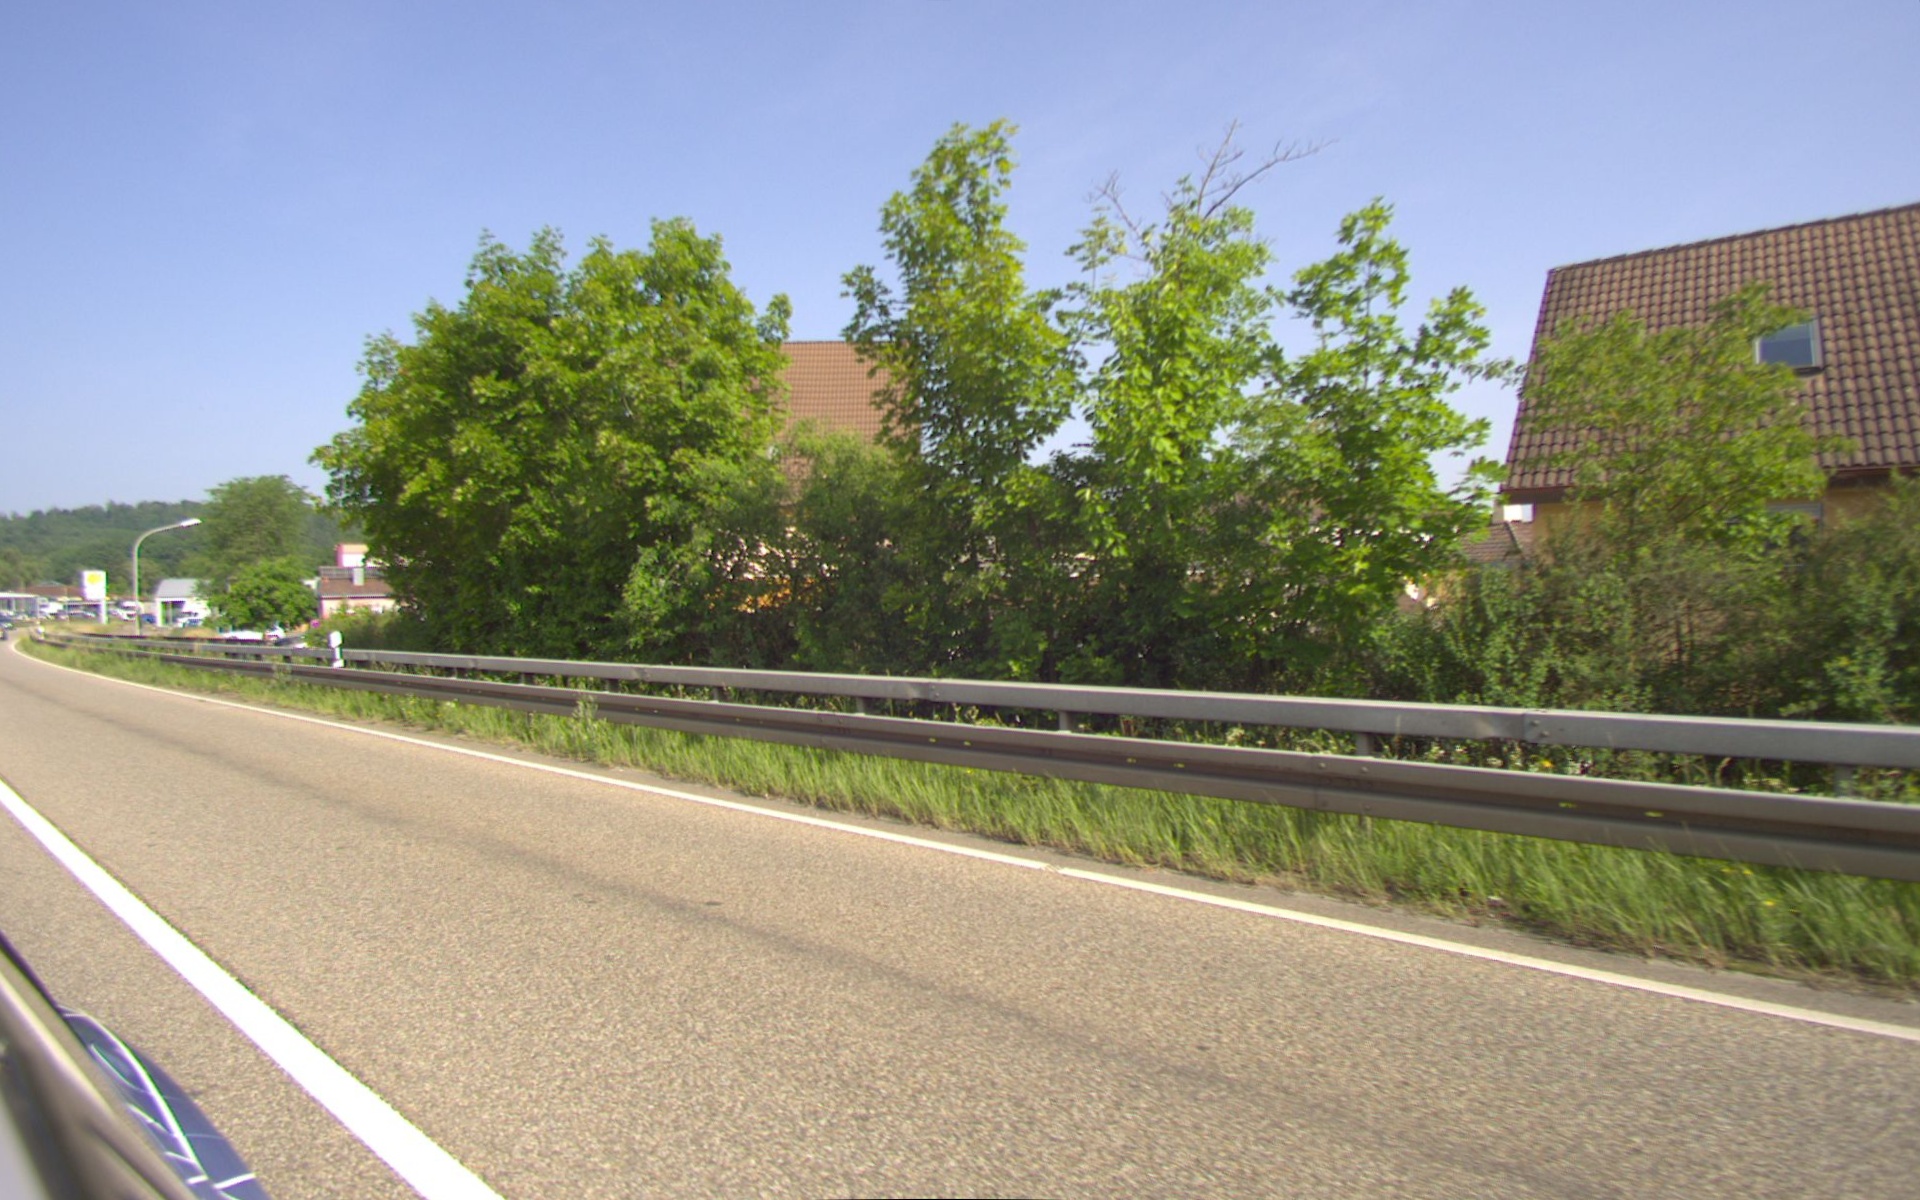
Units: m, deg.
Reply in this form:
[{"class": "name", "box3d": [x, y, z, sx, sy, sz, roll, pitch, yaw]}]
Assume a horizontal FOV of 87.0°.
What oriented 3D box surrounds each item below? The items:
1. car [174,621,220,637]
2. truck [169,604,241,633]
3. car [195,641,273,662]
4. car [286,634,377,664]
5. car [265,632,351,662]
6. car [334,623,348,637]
[{"class": "car", "box3d": [-92.373, 3.470, 122.463, 4.297, 1.667, 1.935, -2, 1, -41]}, {"class": "truck", "box3d": [-98.637, 2.378, 132.471, 2.771, 3.583, 8.201, -2, 0, 5]}, {"class": "car", "box3d": [-55.360, 3.910, 77.226, 1.743, 1.392, 4.564, -1, -1, 44]}, {"class": "car", "box3d": [-36.589, 2.821, 58.963, 4.247, 1.516, 1.876, 0, -1, -42]}, {"class": "car", "box3d": [-41.006, 2.913, 63.701, 1.875, 1.678, 4.251, -1, -1, 44]}, {"class": "car", "box3d": [-55.076, 2.627, 89.985, 0.804, 1.154, 2.020, 0, 1, -39]}]
